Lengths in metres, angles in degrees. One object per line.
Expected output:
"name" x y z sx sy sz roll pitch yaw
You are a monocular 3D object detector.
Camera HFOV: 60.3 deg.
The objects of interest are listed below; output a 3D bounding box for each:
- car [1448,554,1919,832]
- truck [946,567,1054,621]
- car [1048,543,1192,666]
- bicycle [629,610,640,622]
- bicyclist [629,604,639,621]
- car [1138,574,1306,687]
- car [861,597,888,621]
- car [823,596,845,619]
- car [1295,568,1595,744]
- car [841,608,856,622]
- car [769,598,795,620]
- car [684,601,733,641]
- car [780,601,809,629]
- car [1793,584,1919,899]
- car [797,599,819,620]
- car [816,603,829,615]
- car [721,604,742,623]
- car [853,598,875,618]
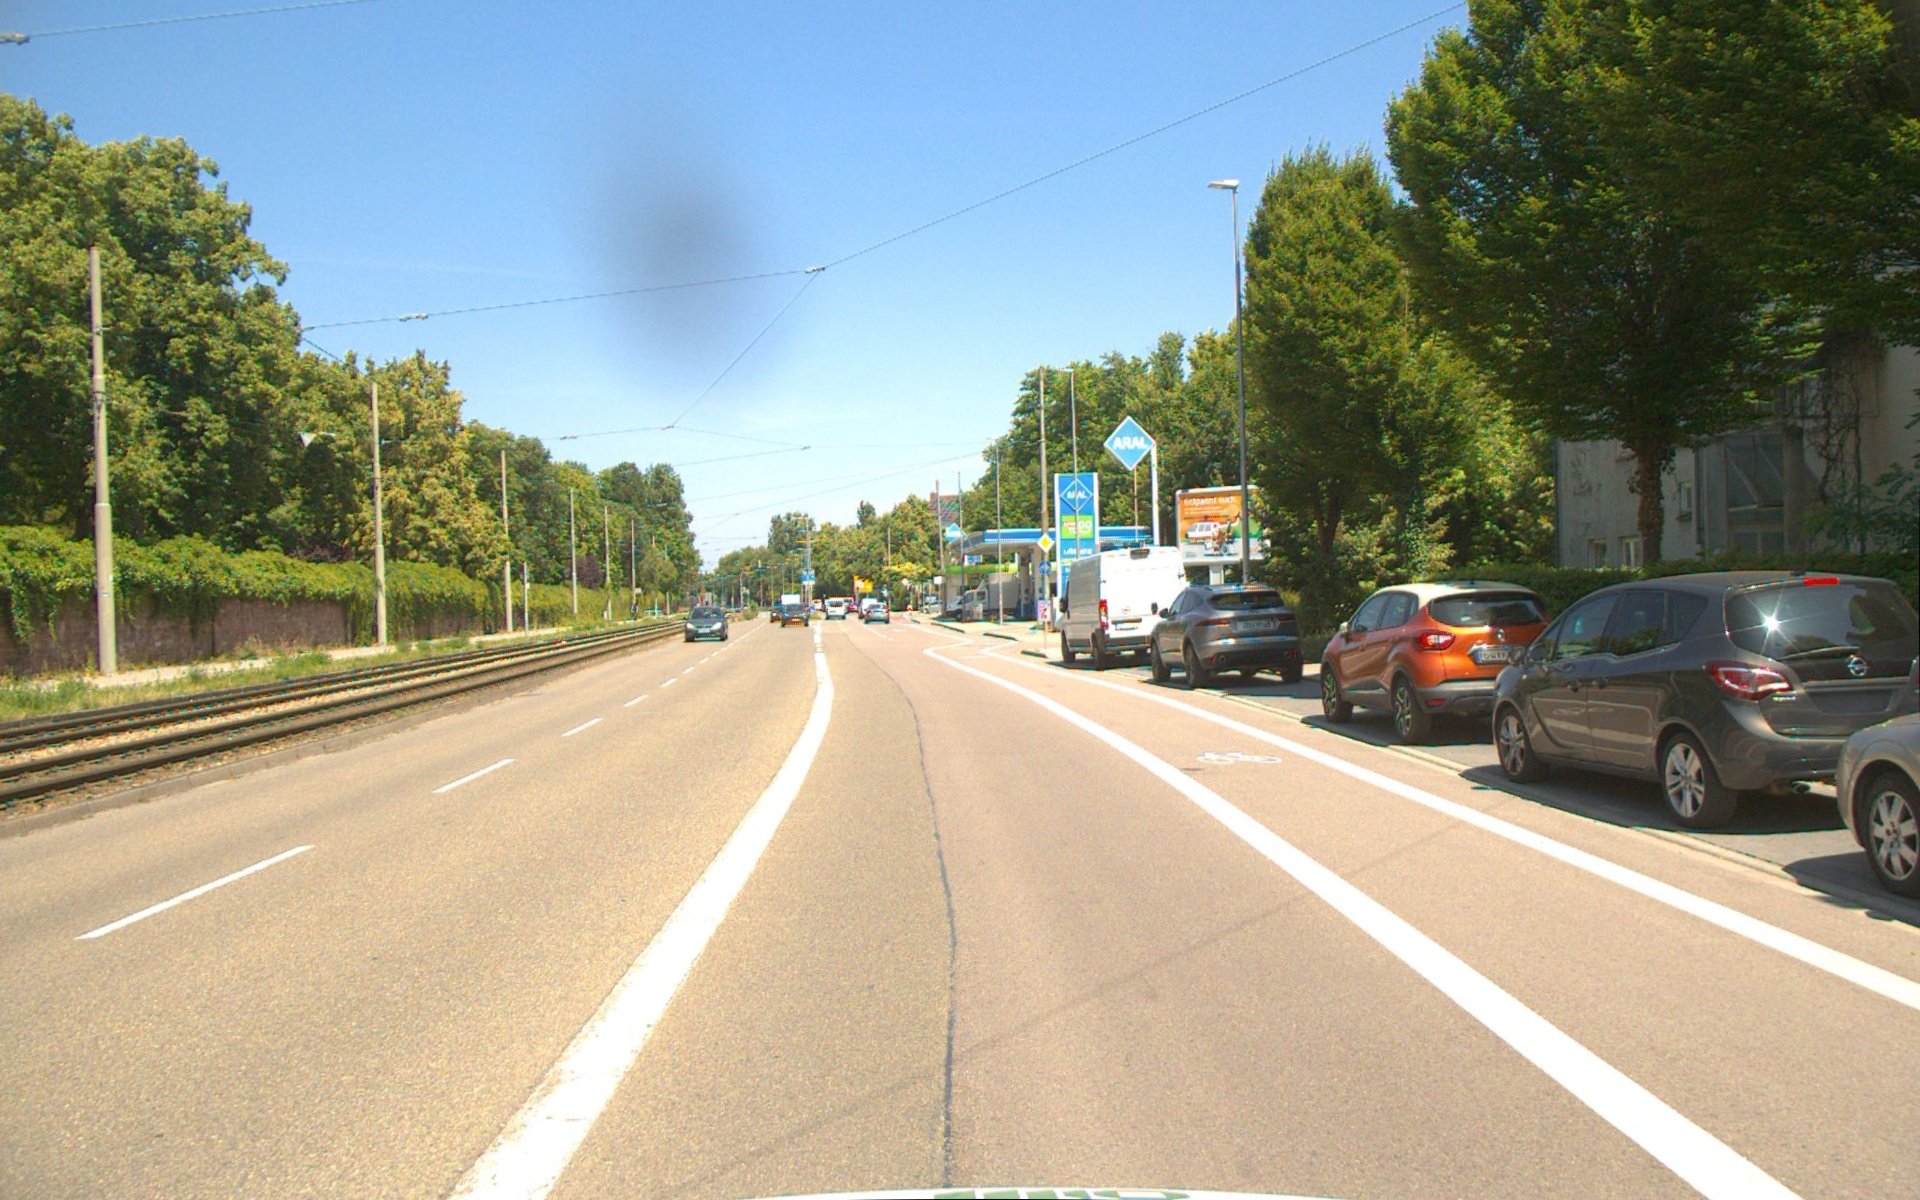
"car" 5.322 0.553 12.282 1.674 1.589 4.318 -4 0 -6
"truck" 2.928 -0.440 122.593 7.804 3.665 2.663 -2 0 0
"car" 3.601 0.093 38.445 1.963 2.499 6.101 -4 0 -6
"bicycle" -31.929 1.584 162.288 0.668 1.072 2.007 -6 -1 -4
"bicyclist" -31.965 1.229 162.300 0.668 1.601 0.795 -6 -1 -4
"car" 4.369 0.480 28.262 1.722 1.658 4.319 -4 0 -6
"car" -6.318 0.646 121.878 1.722 1.658 4.319 -4 0 -6
"car" -11.251 0.658 147.606 1.722 1.907 4.319 -4 0 -6
"car" 5.153 0.535 18.221 1.674 1.589 4.320 -4 0 -4
"car" -14.325 1.876 211.793 1.722 1.658 4.319 -4 0 -6
"car" -14.425 0.733 133.931 1.724 1.658 4.312 -4 0 -11
"car" -10.734 0.860 70.803 1.722 1.535 4.319 -4 0 -6
"car" -10.803 0.967 107.859 1.722 1.658 4.319 -4 0 -6
"car" 5.576 0.671 6.877 1.672 1.518 4.730 -4 0 -1
"car" -13.356 0.830 145.177 1.721 1.658 4.320 -4 0 -4
"car" -21.009 1.339 252.599 1.722 1.658 4.319 -4 0 -6
"car" -22.063 1.301 159.319 1.724 1.658 4.312 -4 0 -11
"car" -8.622 0.688 148.841 1.722 1.658 4.319 -4 0 -6
